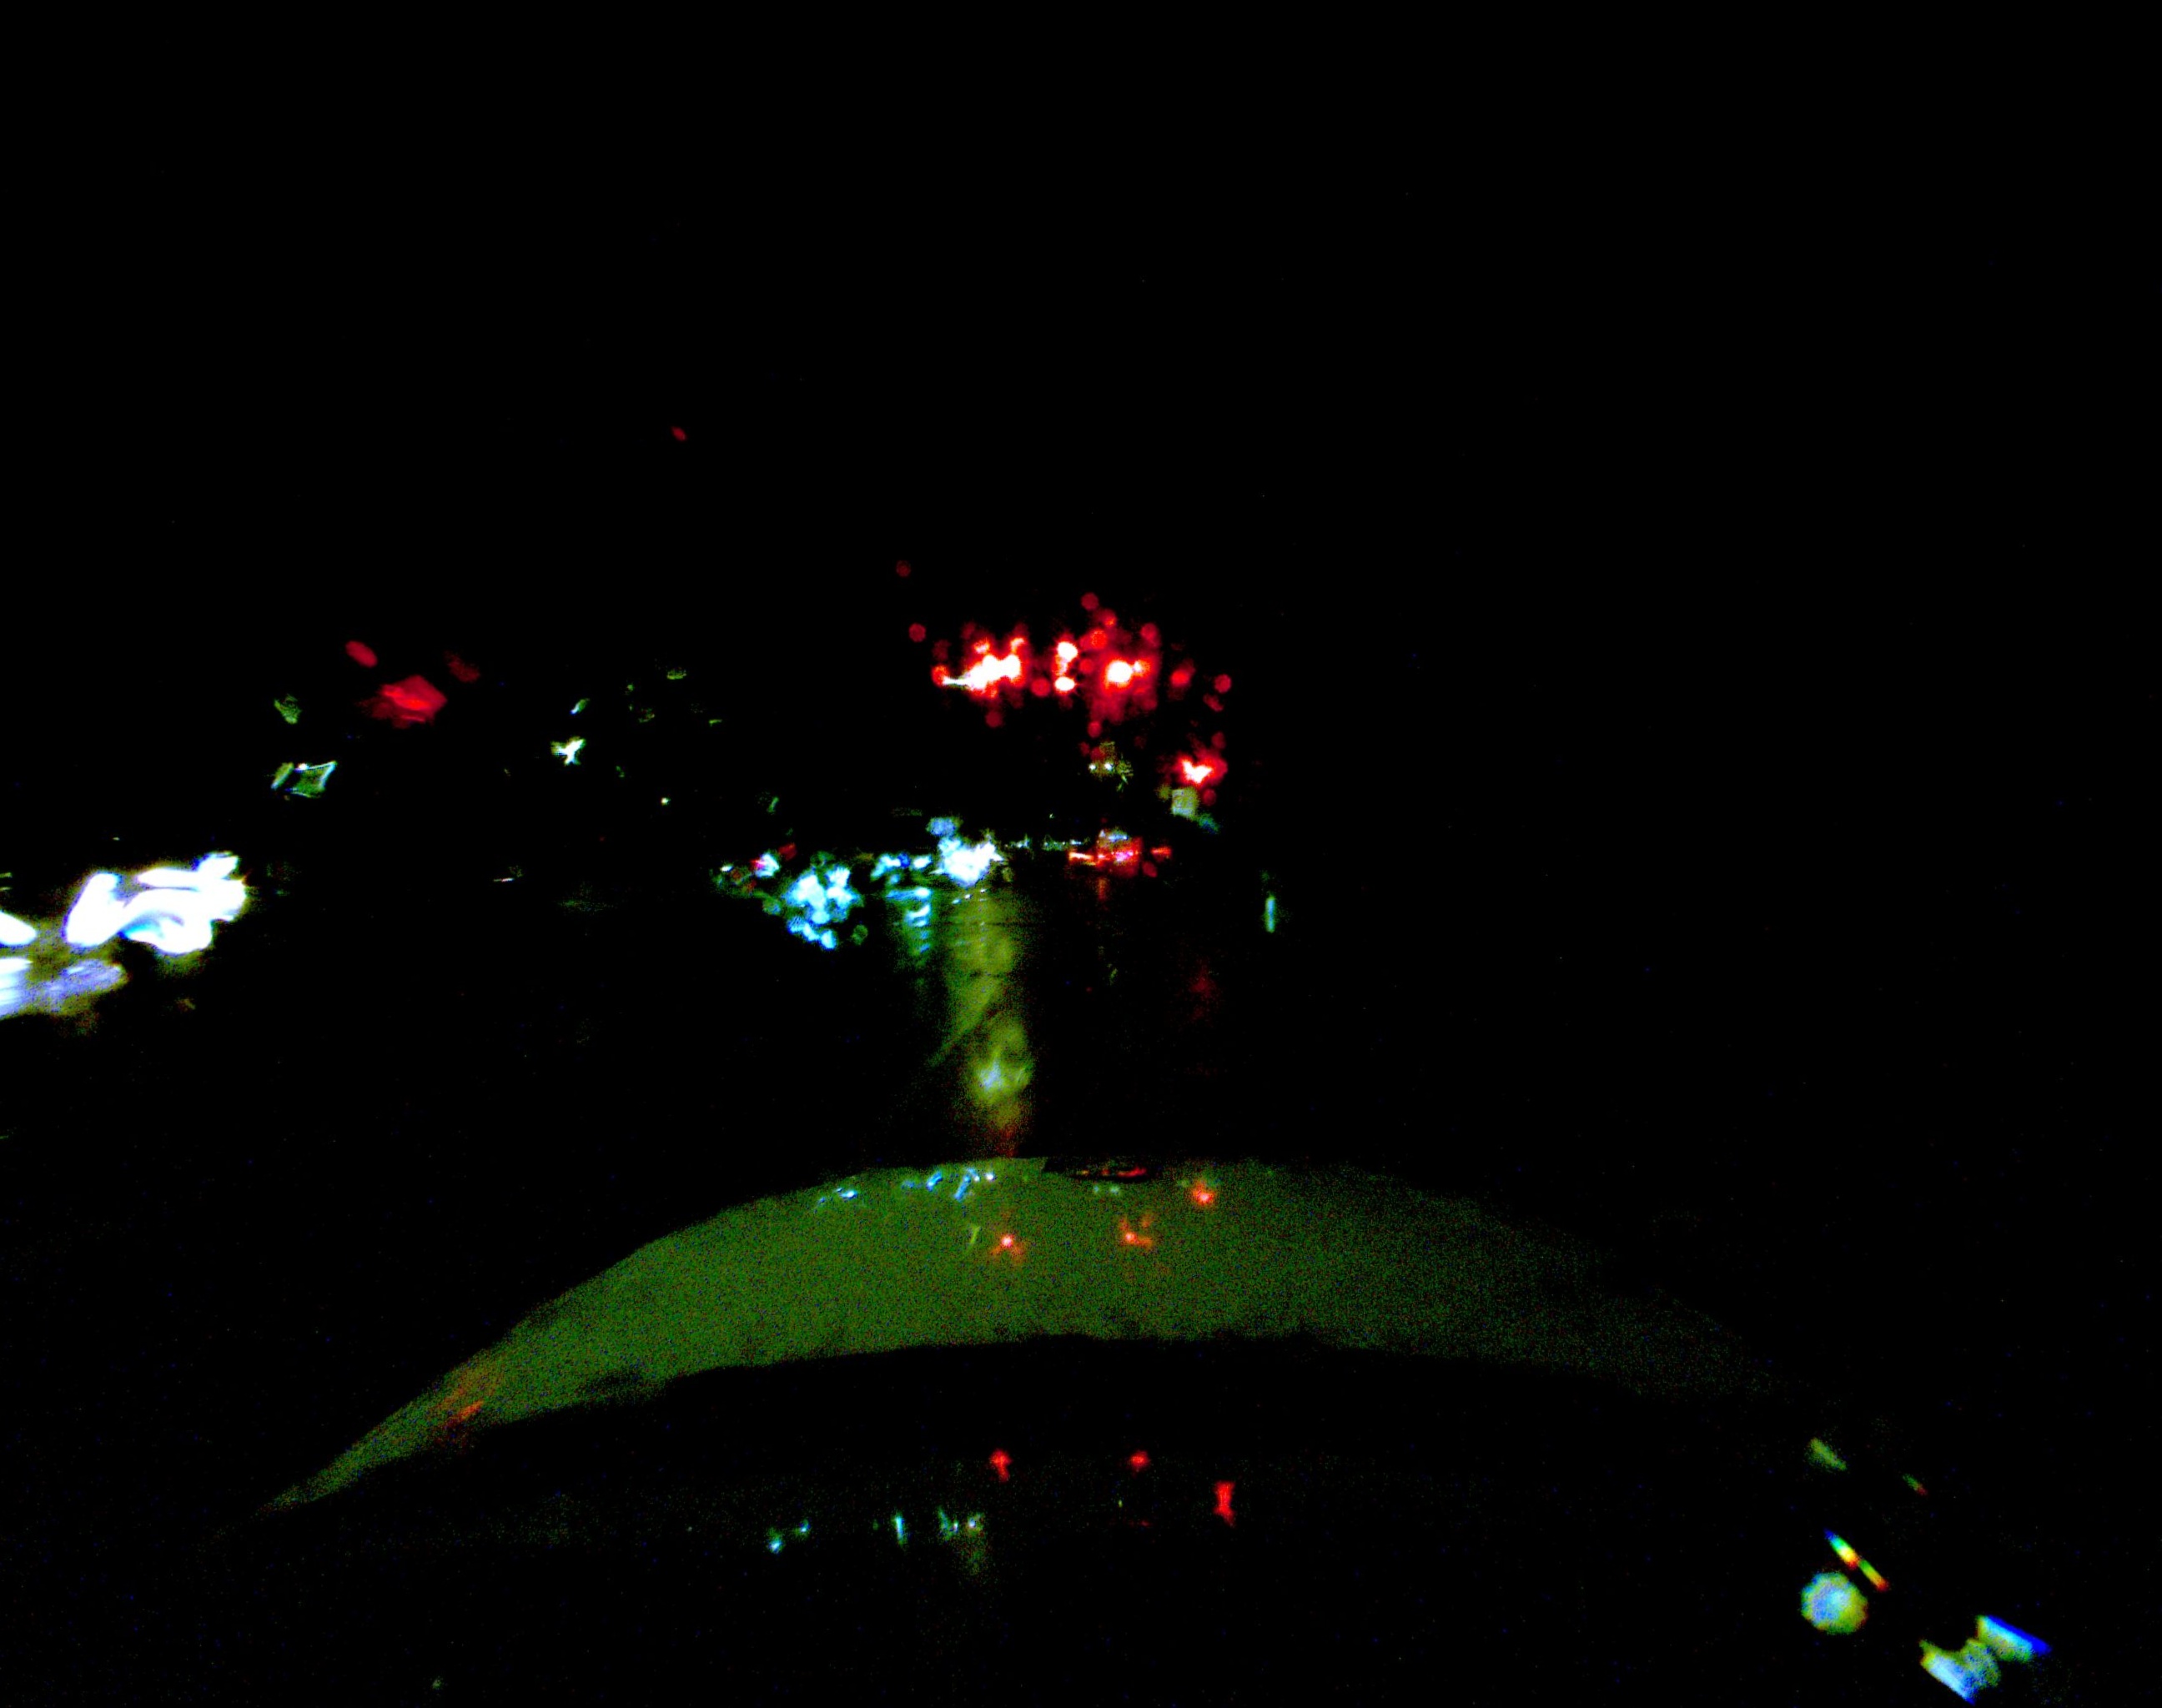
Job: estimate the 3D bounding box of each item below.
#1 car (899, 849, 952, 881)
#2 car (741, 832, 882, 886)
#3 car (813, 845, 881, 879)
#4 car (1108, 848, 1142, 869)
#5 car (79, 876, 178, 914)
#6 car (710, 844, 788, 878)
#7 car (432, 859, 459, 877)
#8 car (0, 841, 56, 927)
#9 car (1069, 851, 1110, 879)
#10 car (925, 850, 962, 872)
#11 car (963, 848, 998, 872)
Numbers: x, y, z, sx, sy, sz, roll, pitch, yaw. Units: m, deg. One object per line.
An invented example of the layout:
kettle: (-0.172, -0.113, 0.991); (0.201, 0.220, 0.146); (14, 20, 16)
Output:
car: (-8.129, 0.533, 42.986); (1.692, 1.571, 4.714); (-1, 0, 2)
car: (-8.502, 0.153, 25.898); (4.101, 1.610, 1.988); (0, -1, -18)
car: (-11.780, 0.372, 41.280); (1.785, 1.571, 4.918); (-1, 0, 3)
car: (2.910, 0.312, 53.870); (2.098, 1.339, 4.297); (-1, -1, 3)
car: (-40.655, 1.714, 34.740); (4.831, 1.503, 1.762); (-1, -1, 29)
car: (-19.606, 0.381, 48.148); (4.016, 1.831, 1.704); (-2, 1, -34)
car: (-59.007, 1.316, 75.598); (1.668, 1.498, 4.322); (-4, 0, -42)
car: (-22.631, 0.603, 16.613); (4.451, 1.653, 1.723); (-1, -1, 44)
car: (0.529, 0.588, 44.621); (2.094, 1.439, 4.003); (-1, -1, 3)
car: (-10.039, 0.502, 59.855); (1.987, 1.530, 4.000); (-1, -1, 0)
car: (-6.840, 0.421, 55.751); (1.577, 1.526, 3.658); (-1, -1, 6)
